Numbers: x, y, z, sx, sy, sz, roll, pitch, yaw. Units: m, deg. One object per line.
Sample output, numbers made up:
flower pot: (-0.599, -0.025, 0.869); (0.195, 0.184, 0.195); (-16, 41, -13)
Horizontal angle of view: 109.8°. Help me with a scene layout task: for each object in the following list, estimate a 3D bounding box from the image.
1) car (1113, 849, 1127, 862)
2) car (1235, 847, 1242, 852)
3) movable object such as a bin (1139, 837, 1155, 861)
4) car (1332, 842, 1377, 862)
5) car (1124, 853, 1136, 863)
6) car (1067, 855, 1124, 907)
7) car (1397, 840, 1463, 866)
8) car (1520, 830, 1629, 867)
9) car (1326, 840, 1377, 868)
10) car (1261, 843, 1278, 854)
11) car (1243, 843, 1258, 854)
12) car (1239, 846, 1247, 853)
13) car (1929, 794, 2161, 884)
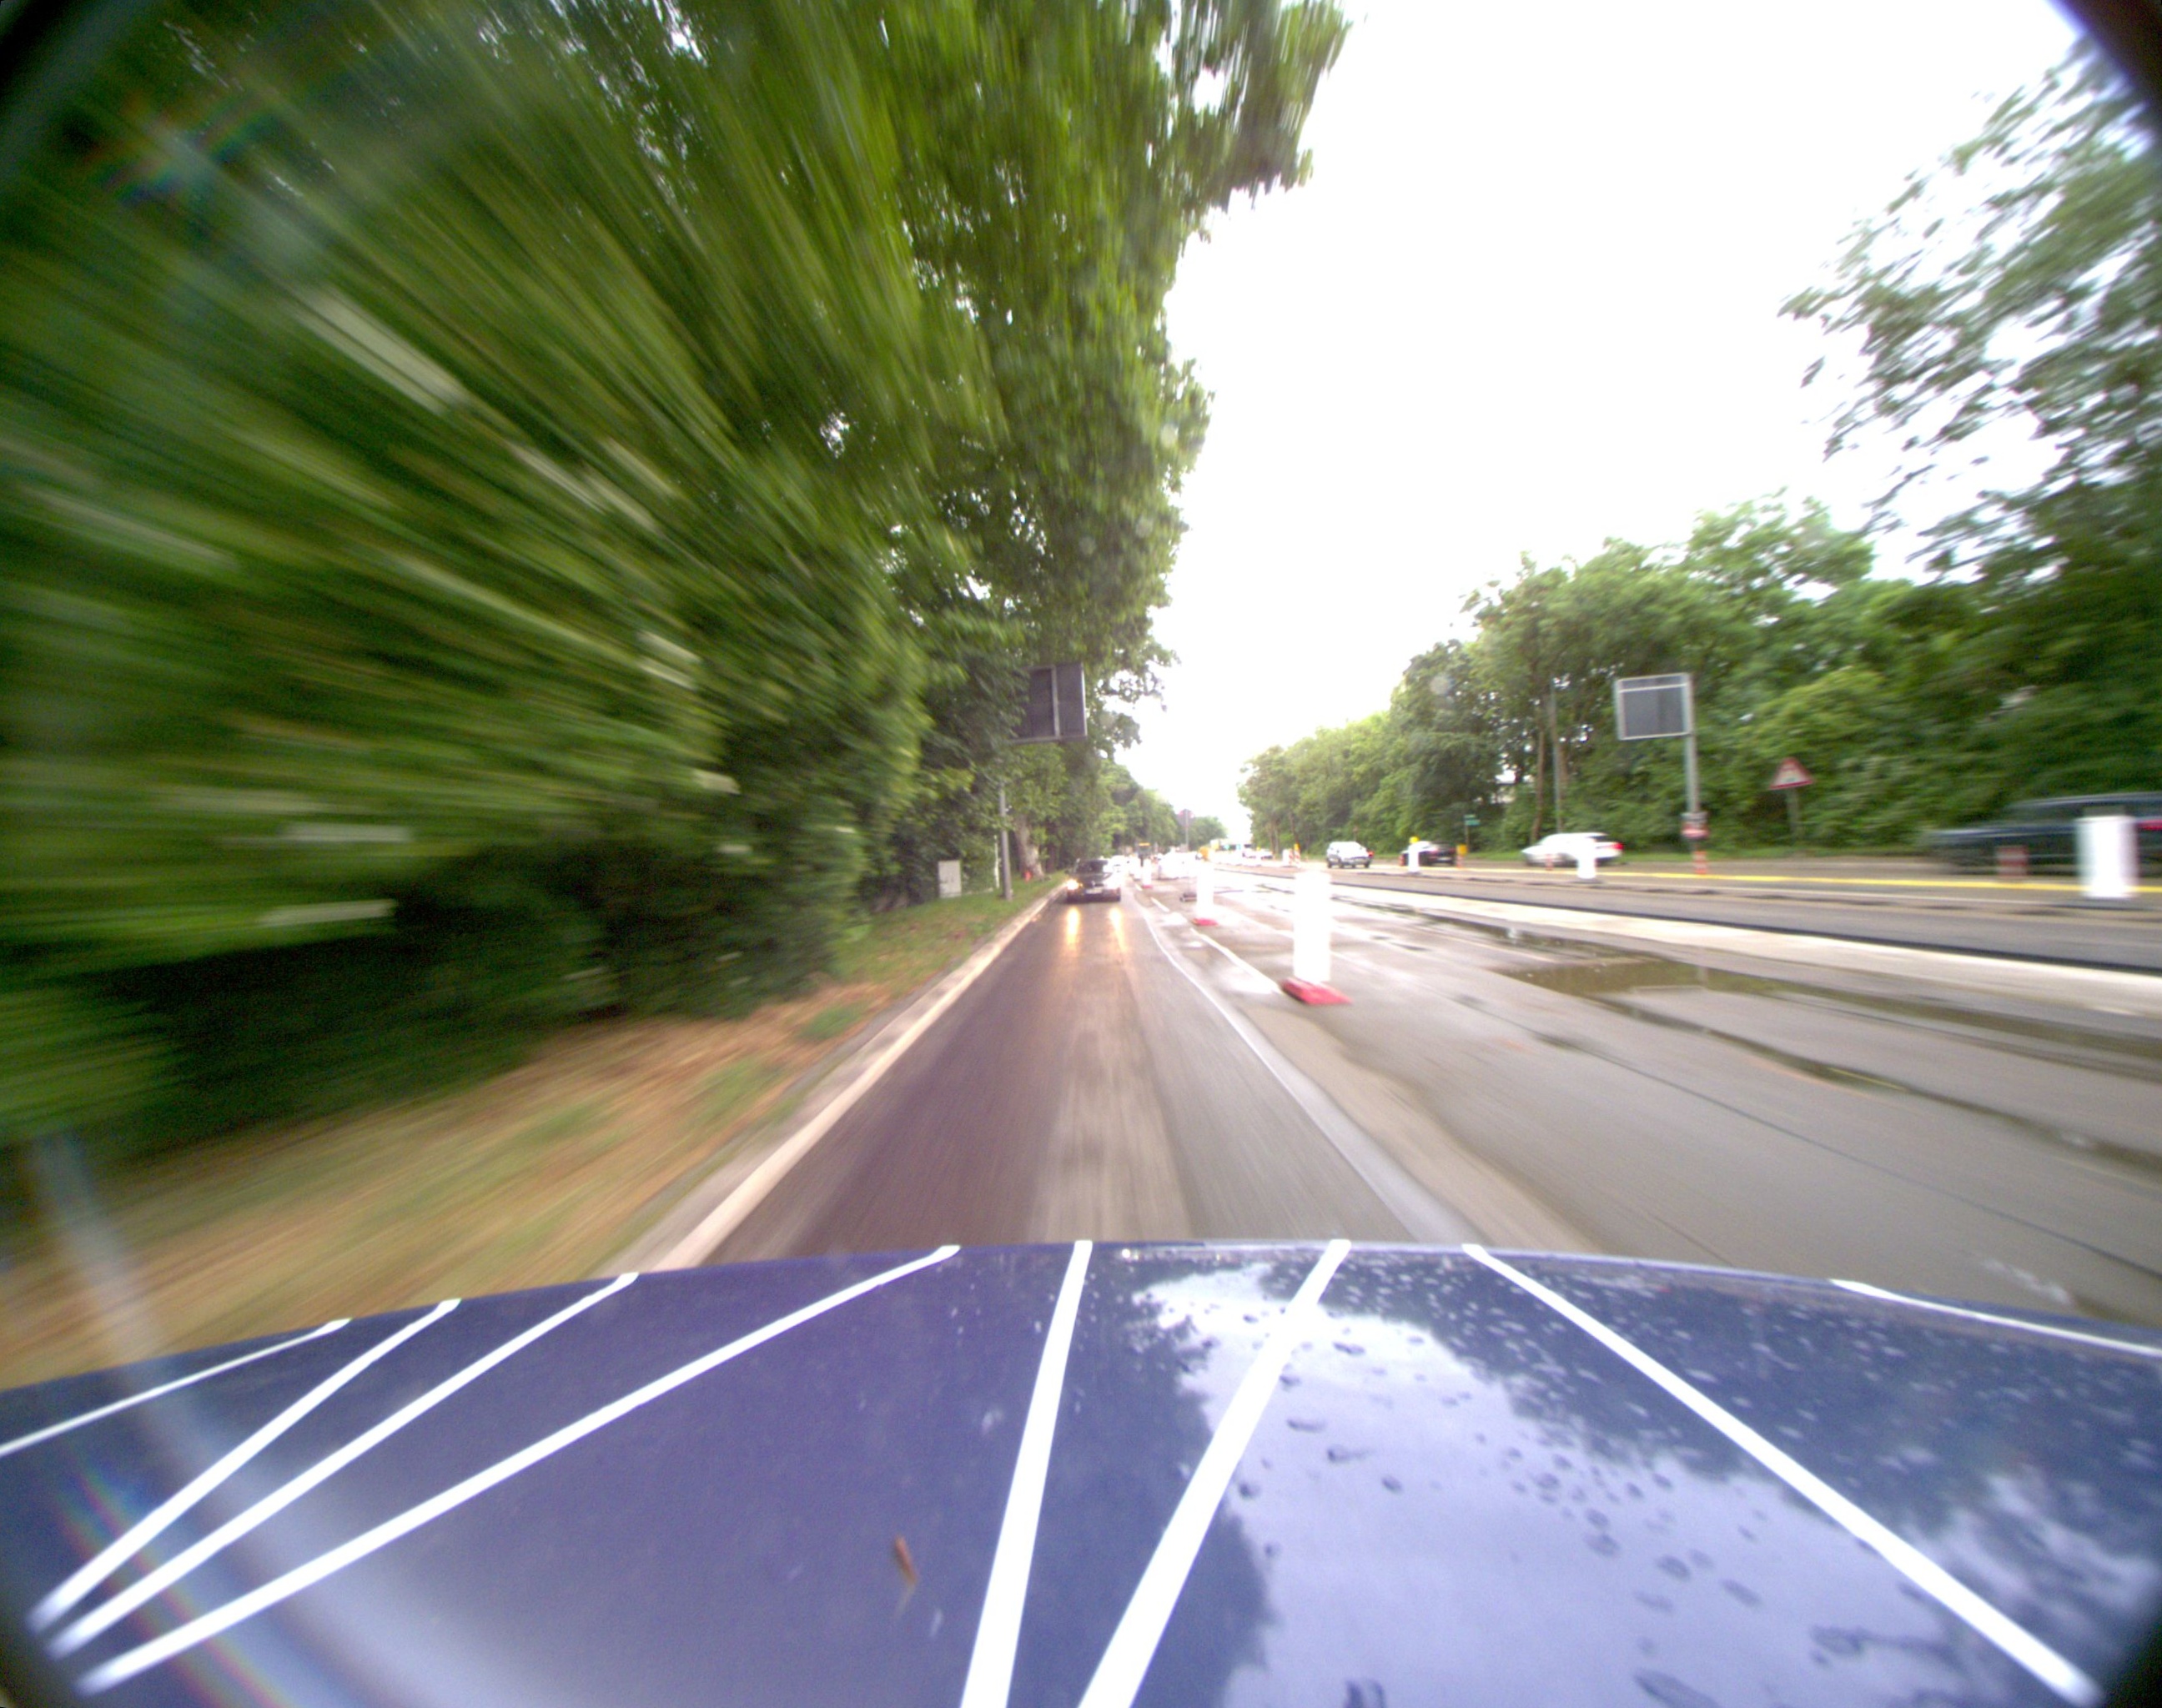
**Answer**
car: (5.557, 0.252, 107.382); (1.707, 1.681, 4.473); (-2, 1, 6)
car: (43.294, -1.280, 208.988); (1.787, 1.418, 4.473); (-2, 0, 13)
movable object such as a bin: (8.667, -0.674, 99.726); (1.807, 2.968, 5.247); (-2, 0, 6)
car: (20.200, -0.123, 56.293); (1.822, 1.347, 4.390); (-1, 0, 1)
car: (9.066, 0.683, 140.389); (1.706, 1.681, 4.474); (-2, 1, 8)
car: (0.433, 0.839, 25.144); (1.701, 1.477, 3.999); (-2, 1, 0)
car: (19.682, -0.048, 43.010); (1.822, 1.347, 4.205); (-1, 0, 1)
car: (21.786, -0.219, 33.794); (1.822, 1.411, 4.603); (-4, 0, 1)
car: (16.621, -0.015, 46.900); (1.793, 1.574, 3.861); (-3, 0, 2)
car: (27.925, -0.829, 112.581); (1.670, 1.532, 4.158); (0, 0, 3)
car: (30.969, -0.998, 138.812); (1.781, 1.741, 4.380); (-2, 0, 2)
car: (38.320, -1.125, 179.945); (1.787, 1.444, 4.685); (-2, 0, 10)
car: (21.171, -0.333, 15.951); (1.657, 1.675, 4.533); (-4, 0, 1)
